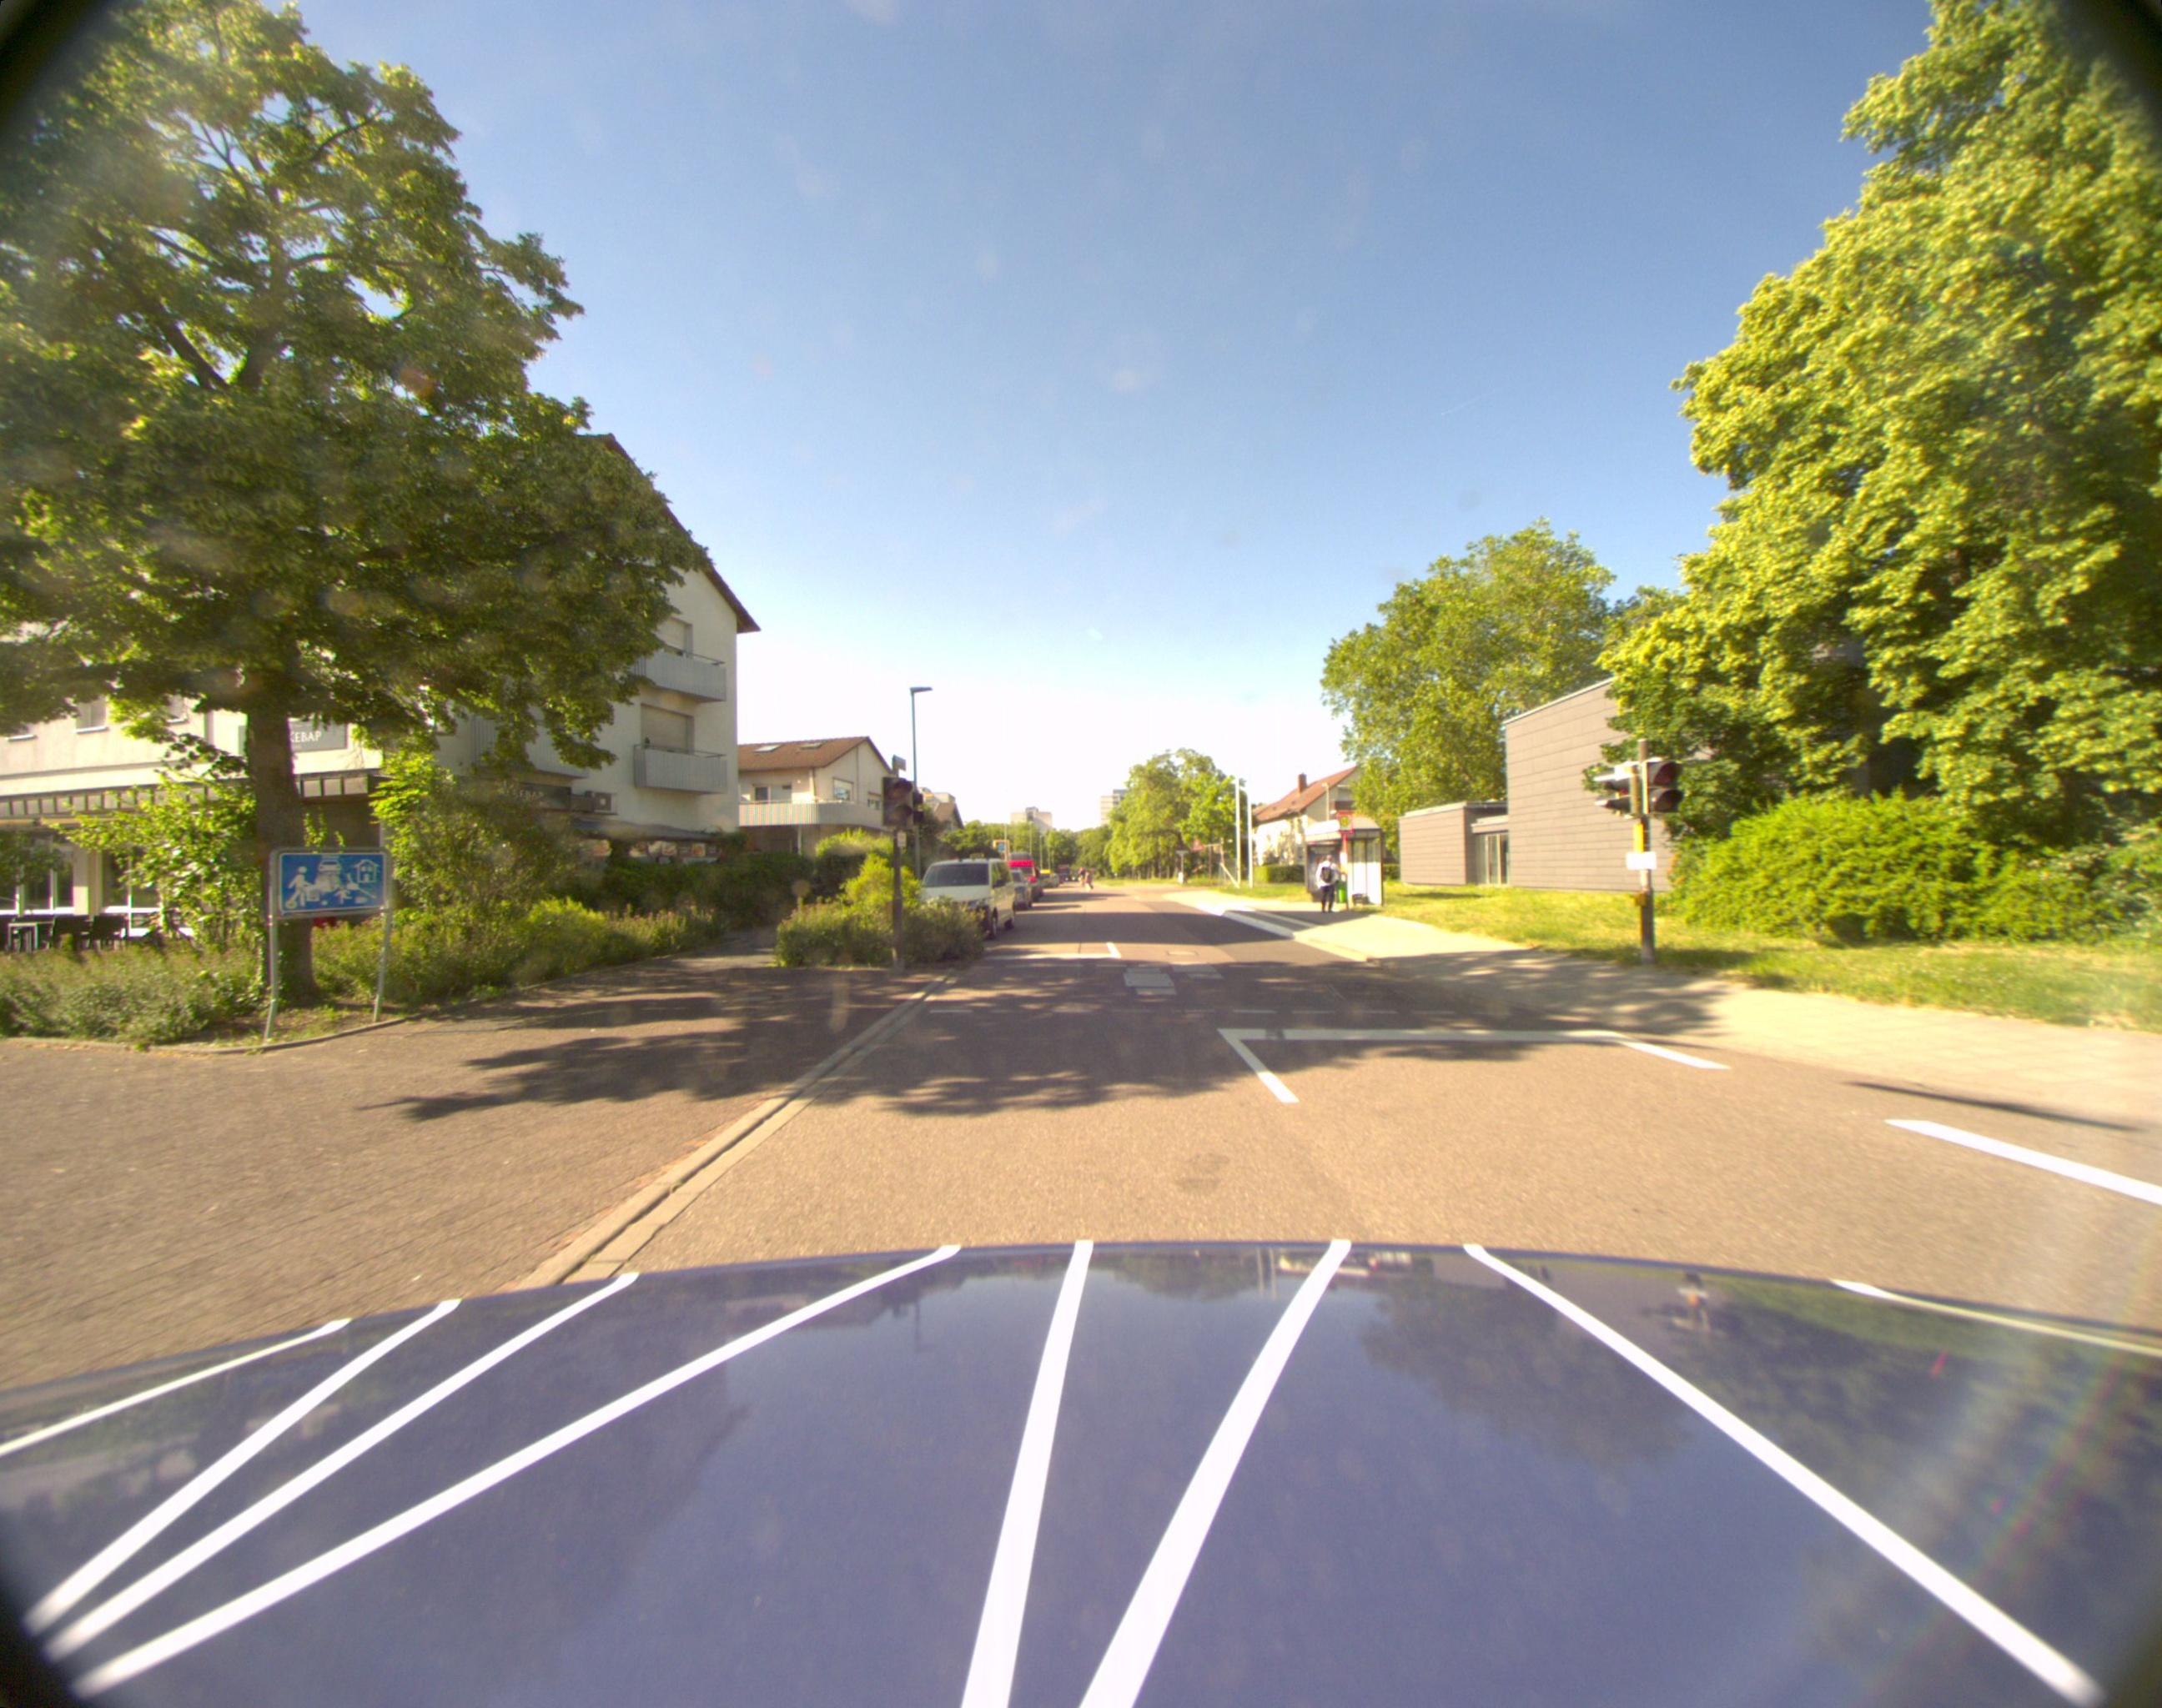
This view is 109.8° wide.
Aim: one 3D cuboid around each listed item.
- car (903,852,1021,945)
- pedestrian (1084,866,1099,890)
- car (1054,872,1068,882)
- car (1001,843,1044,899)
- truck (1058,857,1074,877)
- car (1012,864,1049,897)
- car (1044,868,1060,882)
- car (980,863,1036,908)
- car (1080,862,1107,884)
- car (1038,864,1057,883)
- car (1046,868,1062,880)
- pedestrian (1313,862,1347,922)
[{"bbox_3d":[-2.898,1.065,19.677,1.998,2.066,4.580,-2,-1,4],"label":"car"},{"bbox_3d":[0.695,1.598,51.591,0.834,1.578,0.632,2,2,17],"label":"pedestrian"},{"bbox_3d":[-3.357,3.823,128.715,1.998,1.587,4.579,-2,-1,2],"label":"car"},{"bbox_3d":[-2.982,0.880,39.390,1.962,2.628,5.222,-2,-1,-3],"label":"car"},{"bbox_3d":[-3.573,3.117,183.608,3.602,4.543,10.025,-2,-1,0],"label":"truck"},{"bbox_3d":[-3.021,1.573,46.294,1.862,1.837,4.560,-4,-1,-1],"label":"car"},{"bbox_3d":[-3.181,2.289,84.709,1.621,1.478,3.982,-2,-1,0],"label":"car"},{"bbox_3d":[-3.020,1.271,32.431,1.962,1.727,4.576,-2,-1,-1],"label":"car"},{"bbox_3d":[1.116,1.734,70.129,1.966,1.908,4.576,-2,0,-4],"label":"car"},{"bbox_3d":[-3.192,1.843,73.073,1.621,1.765,3.982,-2,-1,0],"label":"car"},{"bbox_3d":[-3.554,2.700,102.039,1.999,1.587,4.578,-2,-1,-1],"label":"car"},{"bbox_3d":[7.808,1.184,23.820,0.716,1.793,0.772,-2,2,40],"label":"pedestrian"}]
